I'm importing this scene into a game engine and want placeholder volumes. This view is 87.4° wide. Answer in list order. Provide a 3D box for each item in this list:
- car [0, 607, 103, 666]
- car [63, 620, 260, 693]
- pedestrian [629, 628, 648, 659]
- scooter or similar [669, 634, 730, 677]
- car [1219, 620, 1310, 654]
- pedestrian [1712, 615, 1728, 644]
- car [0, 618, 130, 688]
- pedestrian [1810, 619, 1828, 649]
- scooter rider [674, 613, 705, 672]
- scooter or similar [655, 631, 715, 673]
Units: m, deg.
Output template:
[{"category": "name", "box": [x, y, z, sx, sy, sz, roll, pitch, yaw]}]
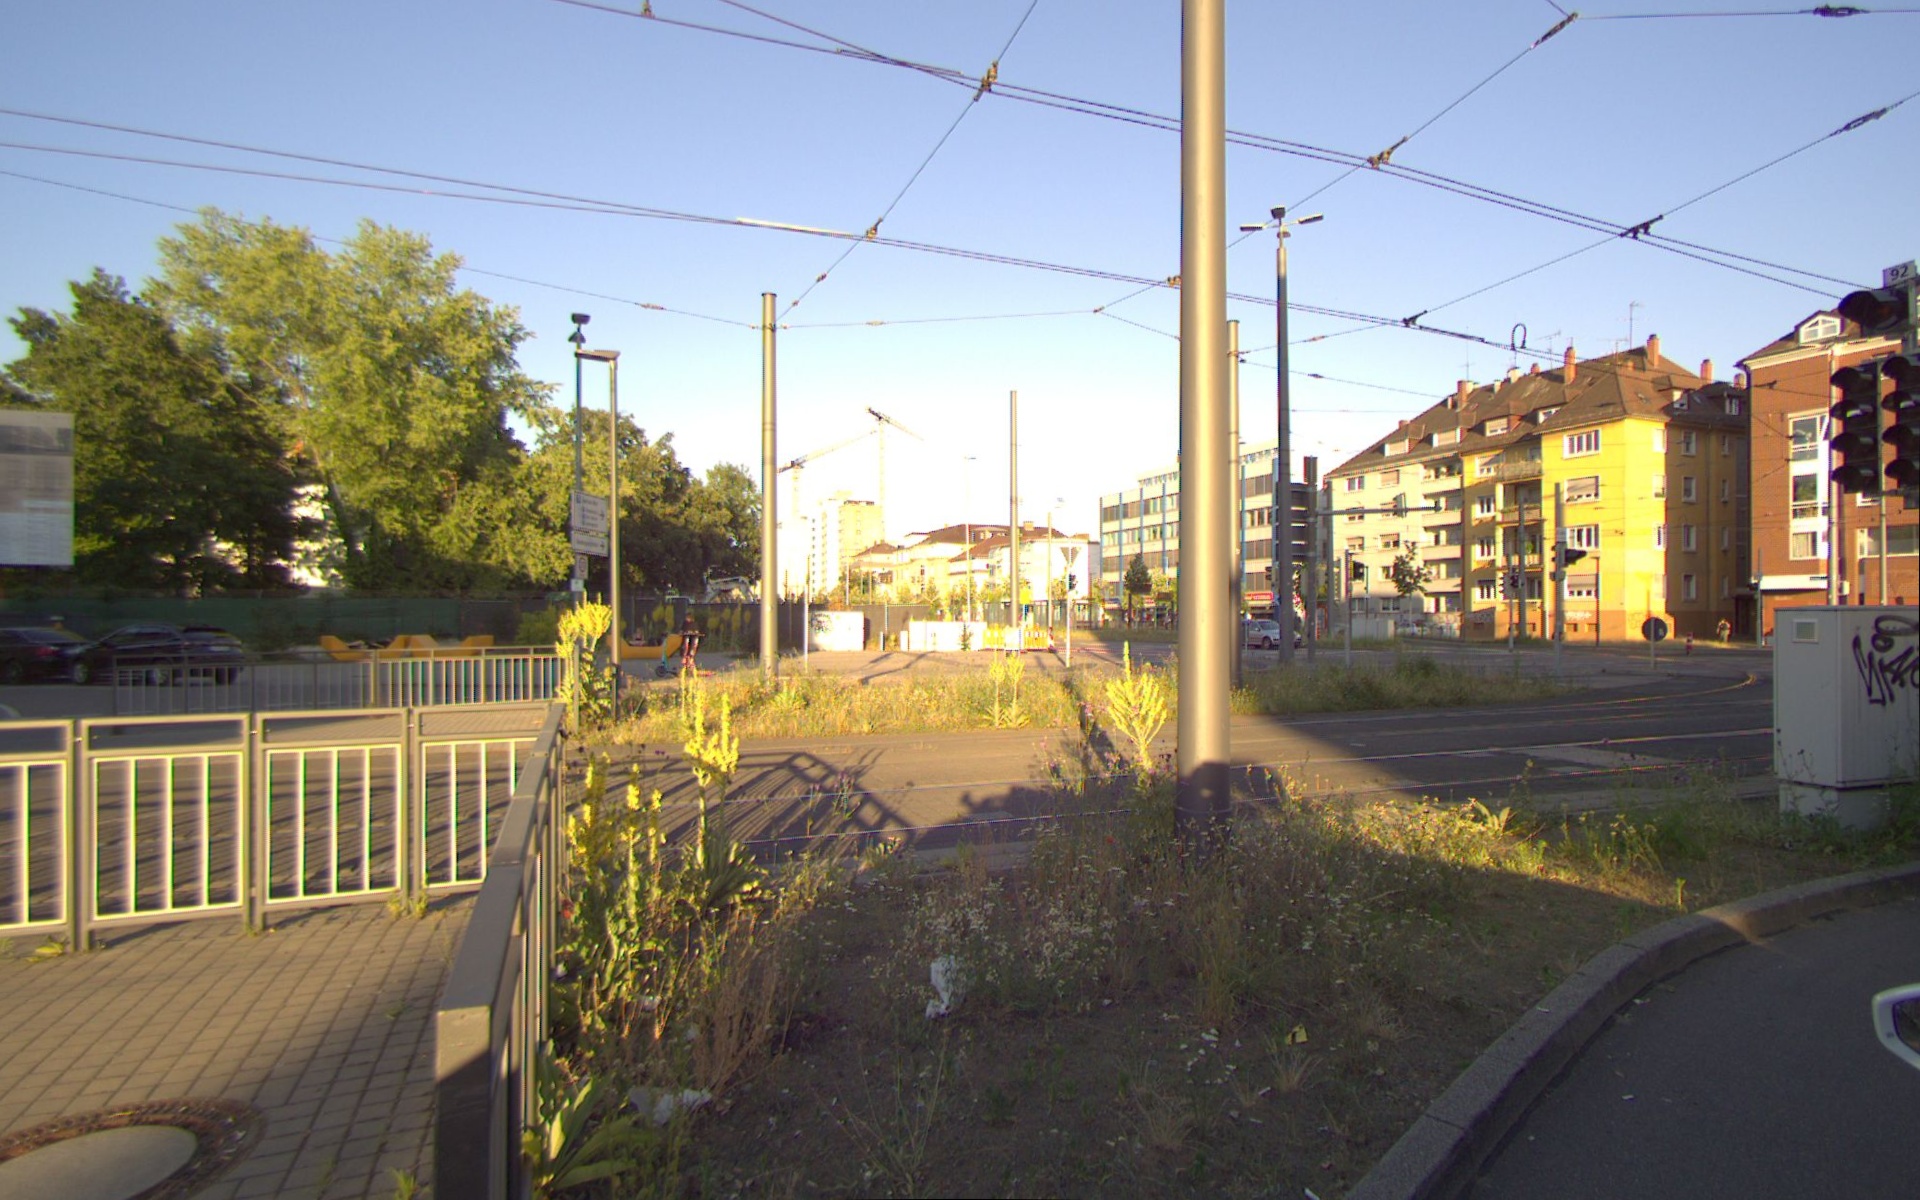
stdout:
[{"category": "car", "box": [-32.994, 1.265, 35.260, 3.942, 2.040, 1.990, 0, -1, -22]}, {"category": "car", "box": [-19.750, 1.354, 24.891, 3.920, 1.567, 2.000, 1, 1, 18]}, {"category": "pedestrian", "box": [-13.134, 1.756, 41.046, 0.694, 1.227, 0.723, 0, 1, -19]}, {"category": "scooter or similar", "box": [-7.123, 1.506, 27.482, 1.612, 1.097, 0.421, 0, 1, -43]}, {"category": "car", "box": [15.009, 1.794, 49.751, 1.973, 1.572, 4.325, 0, 0, -25]}, {"category": "pedestrian", "box": [46.435, 1.793, 61.337, 0.686, 1.766, 0.659, 1, 0, -44]}, {"category": "car", "box": [-24.079, 1.318, 26.161, 3.920, 1.598, 2.000, 1, 1, 18]}, {"category": "pedestrian", "box": [48.204, 1.900, 56.350, 0.493, 1.664, 0.550, 0, 1, -19]}, {"category": "scooter rider", "box": [-7.539, 1.177, 28.004, 0.652, 1.614, 0.580, 0, 1, -39]}, {"category": "scooter or similar", "box": [-7.631, 1.433, 27.914, 1.612, 1.077, 0.421, 0, 1, -43]}]
